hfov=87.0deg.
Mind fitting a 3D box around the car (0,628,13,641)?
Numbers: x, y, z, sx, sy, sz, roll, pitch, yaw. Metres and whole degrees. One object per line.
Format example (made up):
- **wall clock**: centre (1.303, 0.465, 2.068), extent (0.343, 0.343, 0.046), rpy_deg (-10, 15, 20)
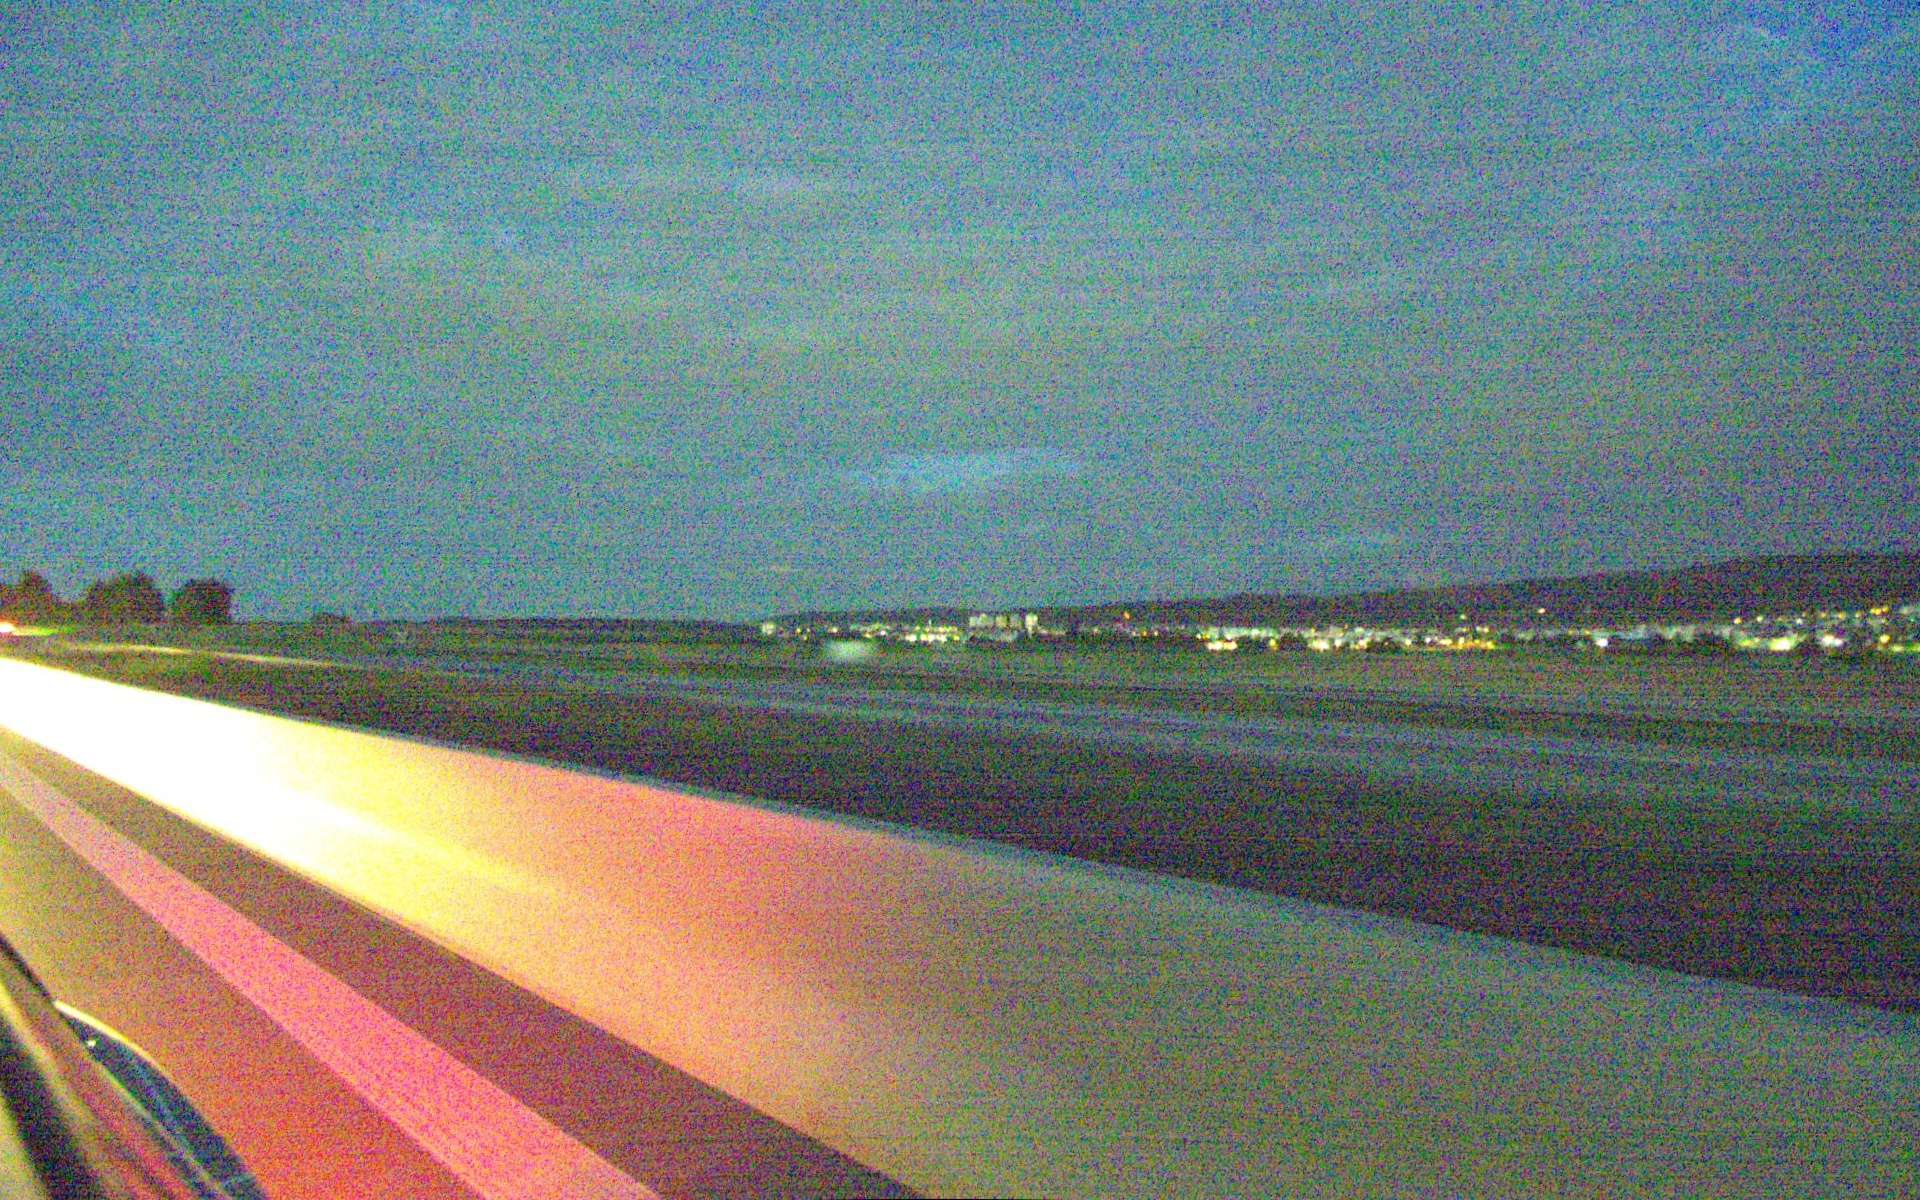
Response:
- **car**: centre (-114.598, 4.055, 120.470), extent (4.978, 1.430, 1.973), rpy_deg (-1, -4, 40)
